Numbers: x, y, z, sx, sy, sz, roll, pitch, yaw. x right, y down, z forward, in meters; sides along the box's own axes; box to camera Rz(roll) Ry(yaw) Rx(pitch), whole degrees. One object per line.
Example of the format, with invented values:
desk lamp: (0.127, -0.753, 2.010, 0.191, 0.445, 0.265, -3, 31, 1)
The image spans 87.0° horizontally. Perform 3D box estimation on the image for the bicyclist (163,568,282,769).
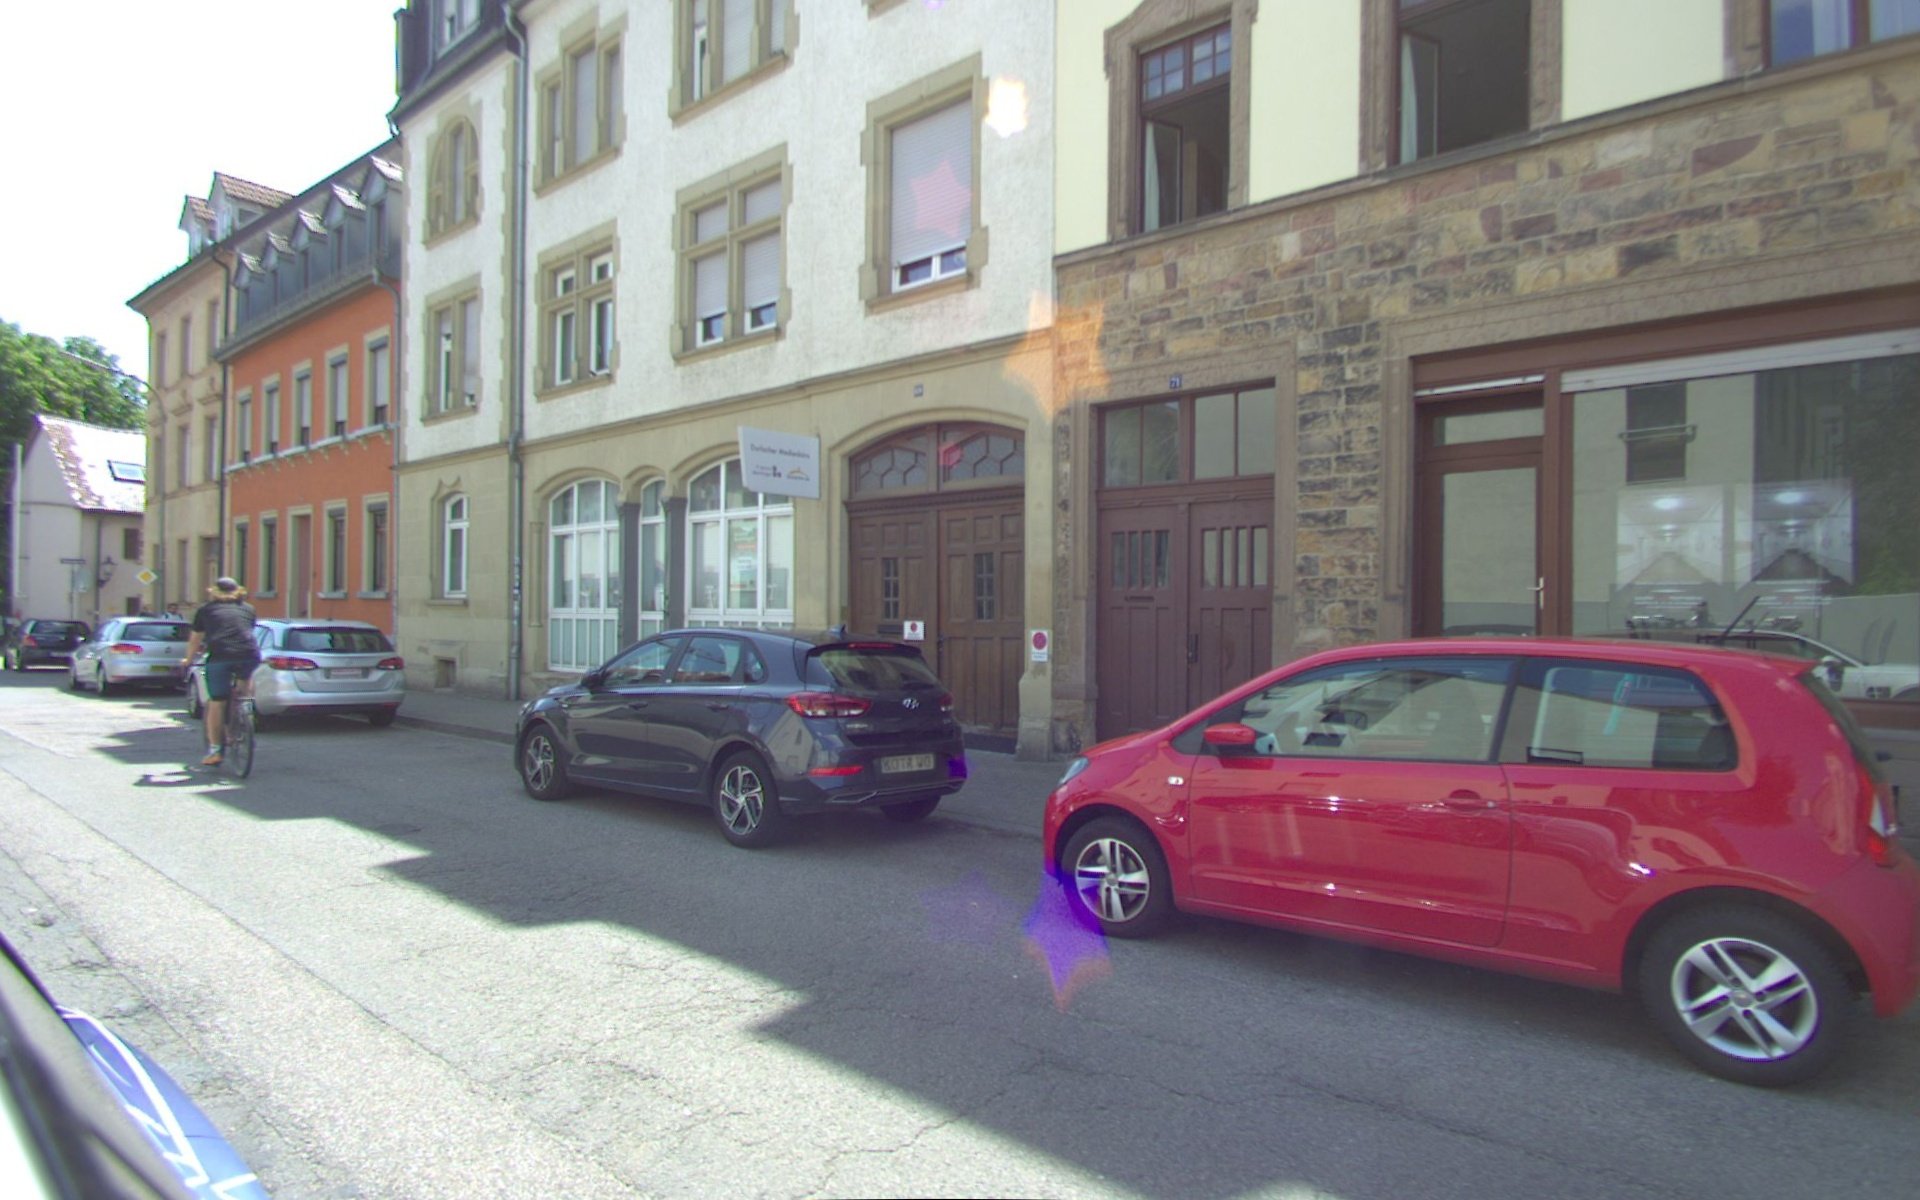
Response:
bicyclist: (-7.004, 0.623, 9.601, 1.167, 1.775, 0.634, -1, -4, 43)

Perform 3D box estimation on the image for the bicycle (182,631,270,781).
bicycle: (-6.959, 0.949, 9.567, 1.883, 1.285, 0.226, -1, -4, 42)

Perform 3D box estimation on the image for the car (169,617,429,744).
car: (-9.414, 1.020, 14.282, 4.377, 1.522, 1.859, -1, -2, 40)

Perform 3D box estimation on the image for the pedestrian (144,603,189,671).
pedestrian: (-21.157, 0.970, 26.983, 0.763, 1.784, 0.761, -1, 0, 39)

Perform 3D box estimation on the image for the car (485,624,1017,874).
car: (-1.797, 0.930, 7.998, 4.213, 1.449, 1.854, -1, -2, 38)

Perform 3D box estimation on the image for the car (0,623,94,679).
car: (-25.547, 1.366, 28.017, 3.853, 1.453, 1.711, -1, -2, 39)

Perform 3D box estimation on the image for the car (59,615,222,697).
car: (-16.156, 1.058, 19.896, 3.849, 1.470, 1.693, -1, -3, 39)

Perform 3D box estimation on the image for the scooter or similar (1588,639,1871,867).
scooter or similar: (4.600, 0.859, 6.123, 1.318, 1.230, 0.371, -1, -2, 40)

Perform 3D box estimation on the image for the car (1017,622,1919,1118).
car: (2.141, 0.844, 4.585, 3.491, 1.453, 1.583, -1, -2, 38)
